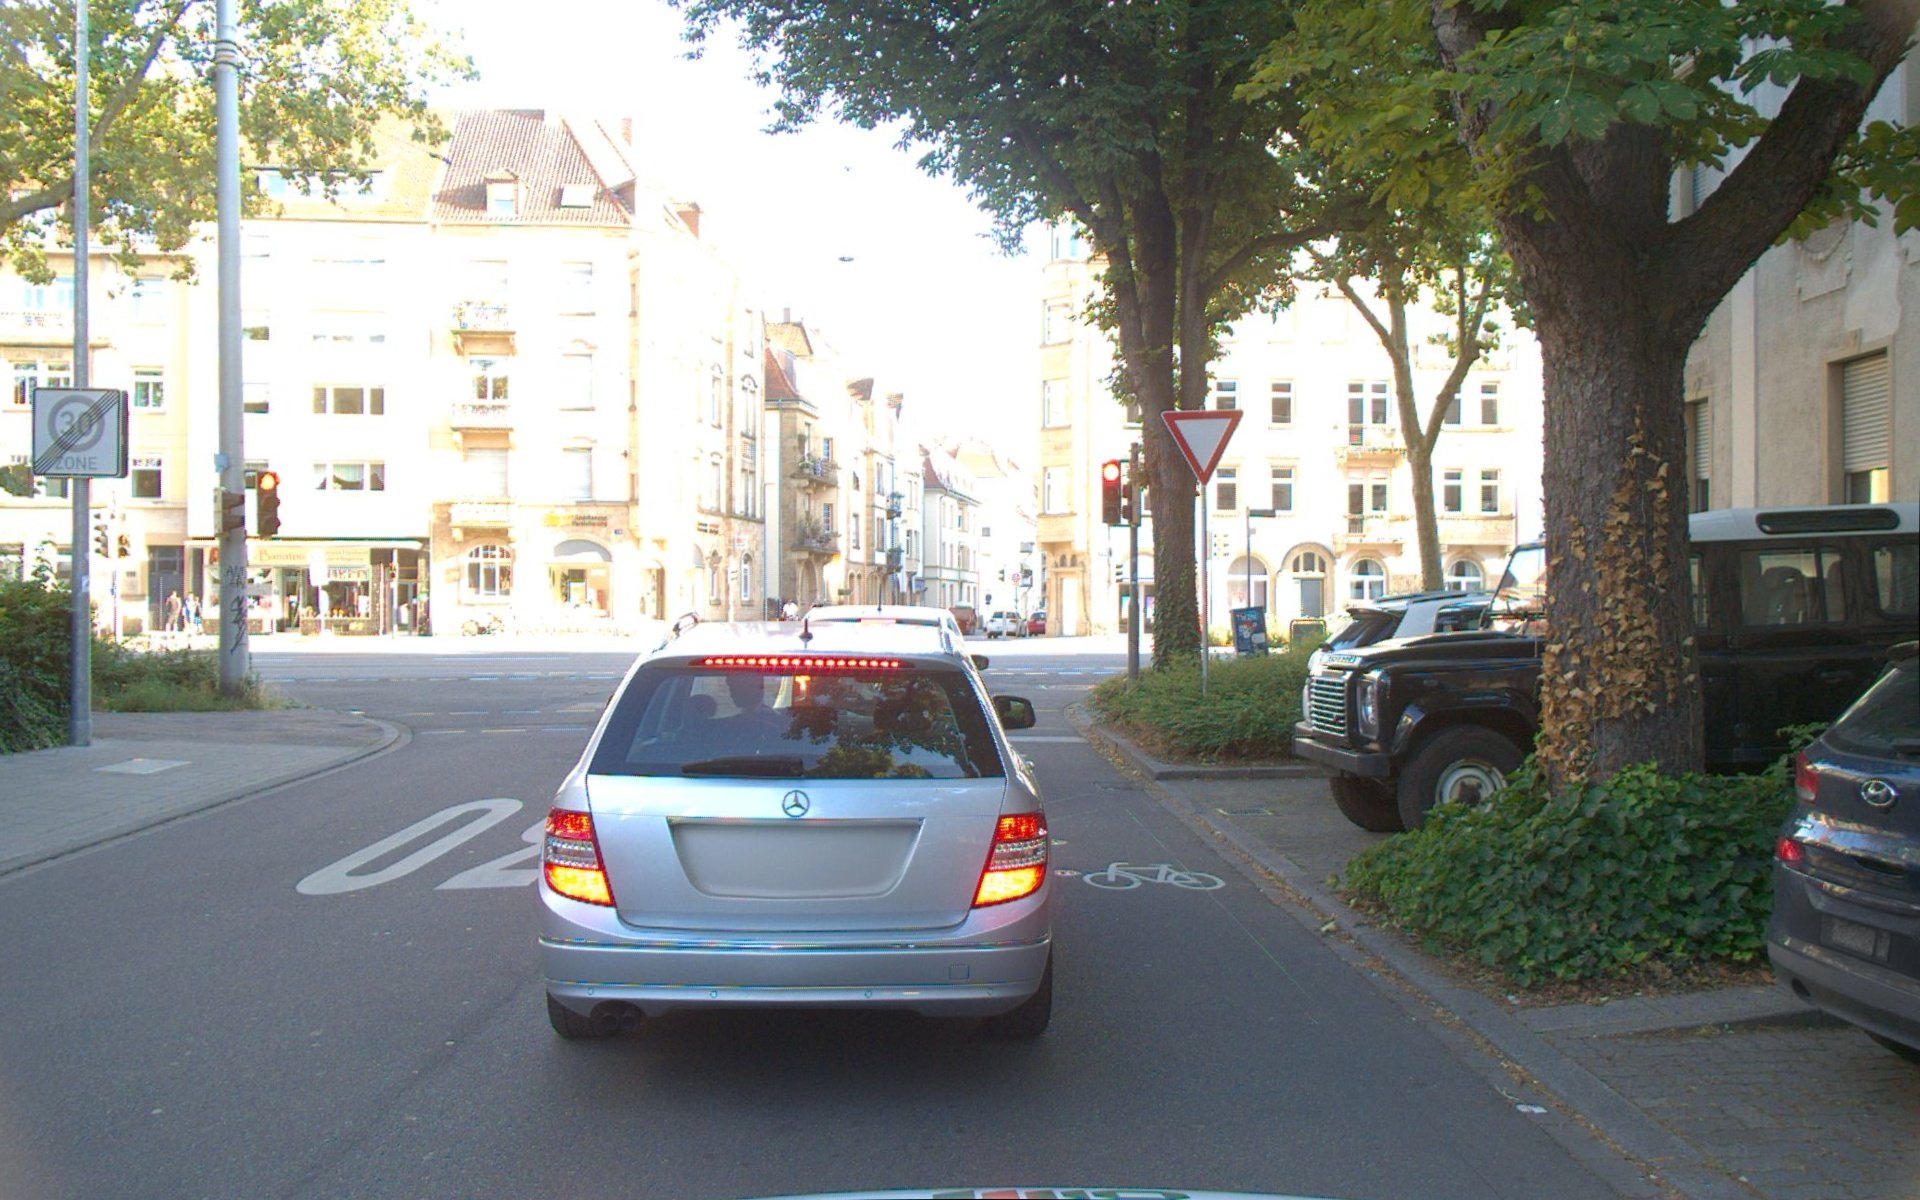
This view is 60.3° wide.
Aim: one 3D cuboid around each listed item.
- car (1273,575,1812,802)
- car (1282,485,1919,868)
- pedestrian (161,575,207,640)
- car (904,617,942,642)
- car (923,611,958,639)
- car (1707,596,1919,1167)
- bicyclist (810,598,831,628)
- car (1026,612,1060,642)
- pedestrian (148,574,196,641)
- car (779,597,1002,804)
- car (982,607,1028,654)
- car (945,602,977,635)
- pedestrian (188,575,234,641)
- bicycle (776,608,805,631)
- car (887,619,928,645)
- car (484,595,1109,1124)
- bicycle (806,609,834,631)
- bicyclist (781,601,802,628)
[{"bbox_3d":[4.516,0.653,13.144,3.650,1.597,1.707,-1,0,-4],"label":"car"},{"bbox_3d":[4.374,0.406,10.177,4.377,2.072,1.699,-1,0,-4],"label":"car"},{"bbox_3d":[-30.054,0.290,64.068,1.320,2.507,1.059,0,0,-5],"label":"pedestrian"},{"bbox_3d":[-2.260,1.814,102.464,1.796,1.427,4.003,0,1,7],"label":"car"},{"bbox_3d":[-1.255,1.624,108.712,1.796,1.692,4.003,0,1,7],"label":"car"},{"bbox_3d":[4.289,0.696,4.598,3.650,1.477,1.707,-1,0,-4],"label":"car"},{"bbox_3d":[-6.196,0.576,73.362,0.754,1.312,0.753,1,0,10],"label":"bicyclist"},{"bbox_3d":[5.131,1.645,101.979,1.796,1.775,4.003,0,1,7],"label":"car"},{"bbox_3d":[-29.759,0.275,62.465,1.320,2.507,1.059,0,0,-5],"label":"pedestrian"},{"bbox_3d":[-0.586,0.723,14.026,1.587,1.472,4.342,1,0,-2],"label":"car"},{"bbox_3d":[2.366,1.544,85.906,1.987,2.319,4.003,0,1,7],"label":"car"},{"bbox_3d":[0.097,1.271,117.326,1.749,2.242,4.003,0,1,7],"label":"car"},{"bbox_3d":[-28.759,0.313,63.531,1.320,2.507,1.059,0,0,-5],"label":"pedestrian"},{"bbox_3d":[-7.495,0.861,73.254,0.754,0.956,1.942,1,0,10],"label":"bicycle"},{"bbox_3d":[-3.059,1.863,96.961,1.796,1.427,4.003,0,1,7],"label":"car"},{"bbox_3d":[-0.546,0.733,6.936,1.741,1.477,4.546,1,0,-2],"label":"car"},{"bbox_3d":[-6.199,0.875,73.361,0.754,0.950,1.942,1,0,10],"label":"bicycle"},{"bbox_3d":[-7.477,0.635,73.332,0.754,1.177,0.753,1,0,10],"label":"bicyclist"}]
